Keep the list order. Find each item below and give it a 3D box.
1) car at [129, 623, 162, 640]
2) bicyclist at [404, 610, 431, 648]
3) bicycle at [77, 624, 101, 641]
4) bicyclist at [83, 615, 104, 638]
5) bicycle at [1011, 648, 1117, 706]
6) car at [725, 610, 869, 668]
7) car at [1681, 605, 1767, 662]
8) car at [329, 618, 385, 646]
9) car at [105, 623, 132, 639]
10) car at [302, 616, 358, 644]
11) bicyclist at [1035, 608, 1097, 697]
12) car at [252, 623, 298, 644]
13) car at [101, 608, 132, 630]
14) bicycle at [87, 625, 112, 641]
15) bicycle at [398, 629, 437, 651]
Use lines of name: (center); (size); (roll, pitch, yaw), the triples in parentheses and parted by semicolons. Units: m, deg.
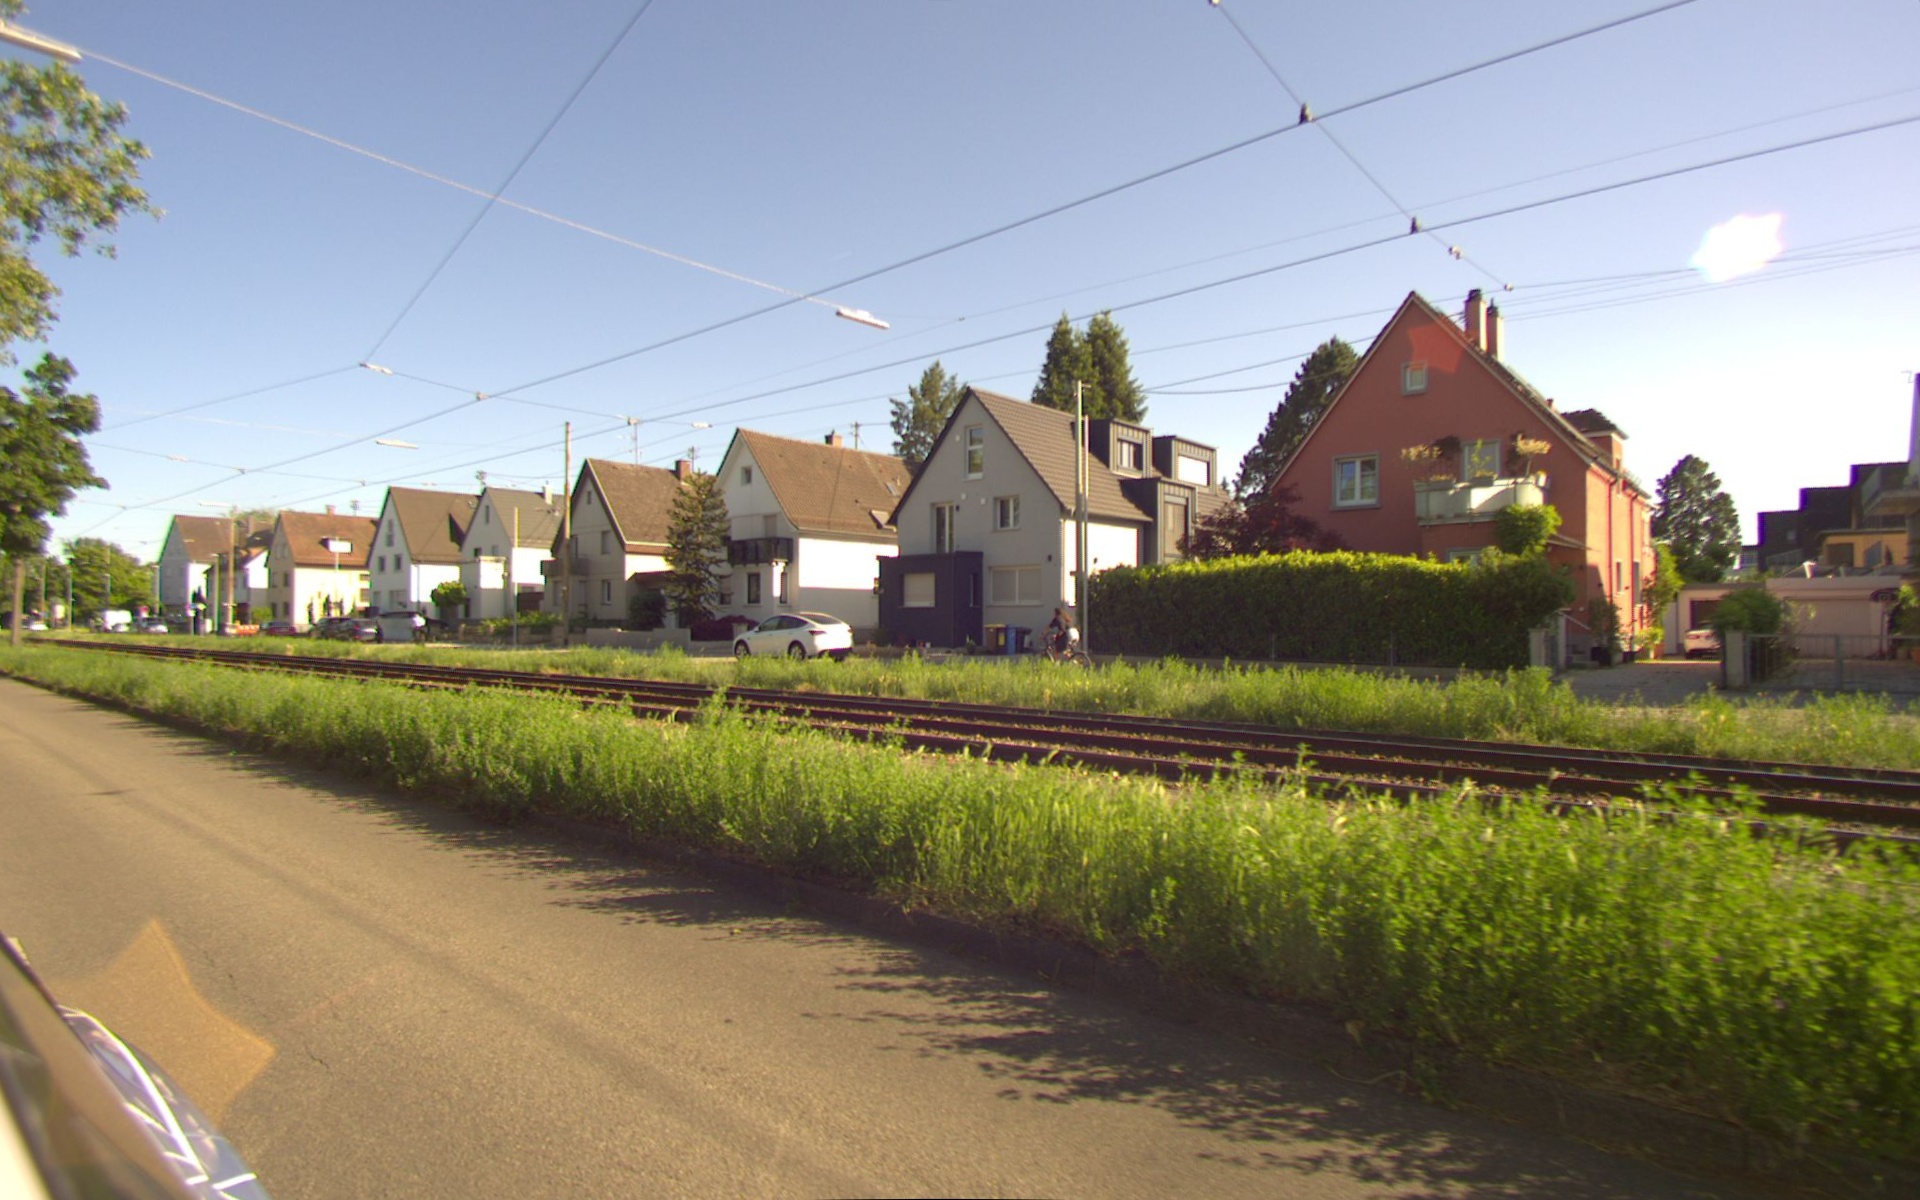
car: (-75.774, 2.886, 94.084); (3.999, 1.517, 1.768); (-1, 0, 42)
bicyclist: (-25.111, 1.336, 46.849); (0.836, 1.687, 0.842); (-1, 0, 42)
bicycle: (-88.115, 3.253, 102.394); (3.999, 1.589, 1.336); (-1, 0, 42)
bicyclist: (-84.767, 2.570, 98.996); (1.622, 2.250, 1.293); (-1, 0, 41)
bicycle: (2.295, 1.694, 22.556); (2.308, 1.143, 0.843); (-1, 0, 42)
car: (-5.312, 1.185, 32.559); (4.837, 1.691, 1.972); (-1, 0, 42)
car: (24.214, 1.000, 32.030); (1.998, 1.630, 3.947); (-1, 0, 40)
car: (-34.790, 1.838, 58.369); (3.754, 1.501, 1.716); (-1, 0, 42)
car: (-86.061, 3.137, 103.475); (4.002, 1.517, 1.767); (-1, 0, 44)
car: (-38.031, 1.790, 61.060); (4.010, 1.609, 1.779); (-1, 0, 42)
bicyclist: (2.352, 1.139, 22.474); (1.071, 1.901, 0.843); (-1, 0, 41)
car: (-47.097, 2.282, 69.573); (3.822, 1.392, 1.733); (-1, 0, 42)
car: (-89.386, 2.030, 107.196); (4.002, 2.239, 2.103); (-1, 0, 44)
bicycle: (-84.260, 3.198, 99.065); (3.999, 1.506, 1.336); (-1, 0, 42)
bicycle: (-25.155, 1.831, 46.891); (2.308, 0.958, 0.843); (-1, 0, 42)
